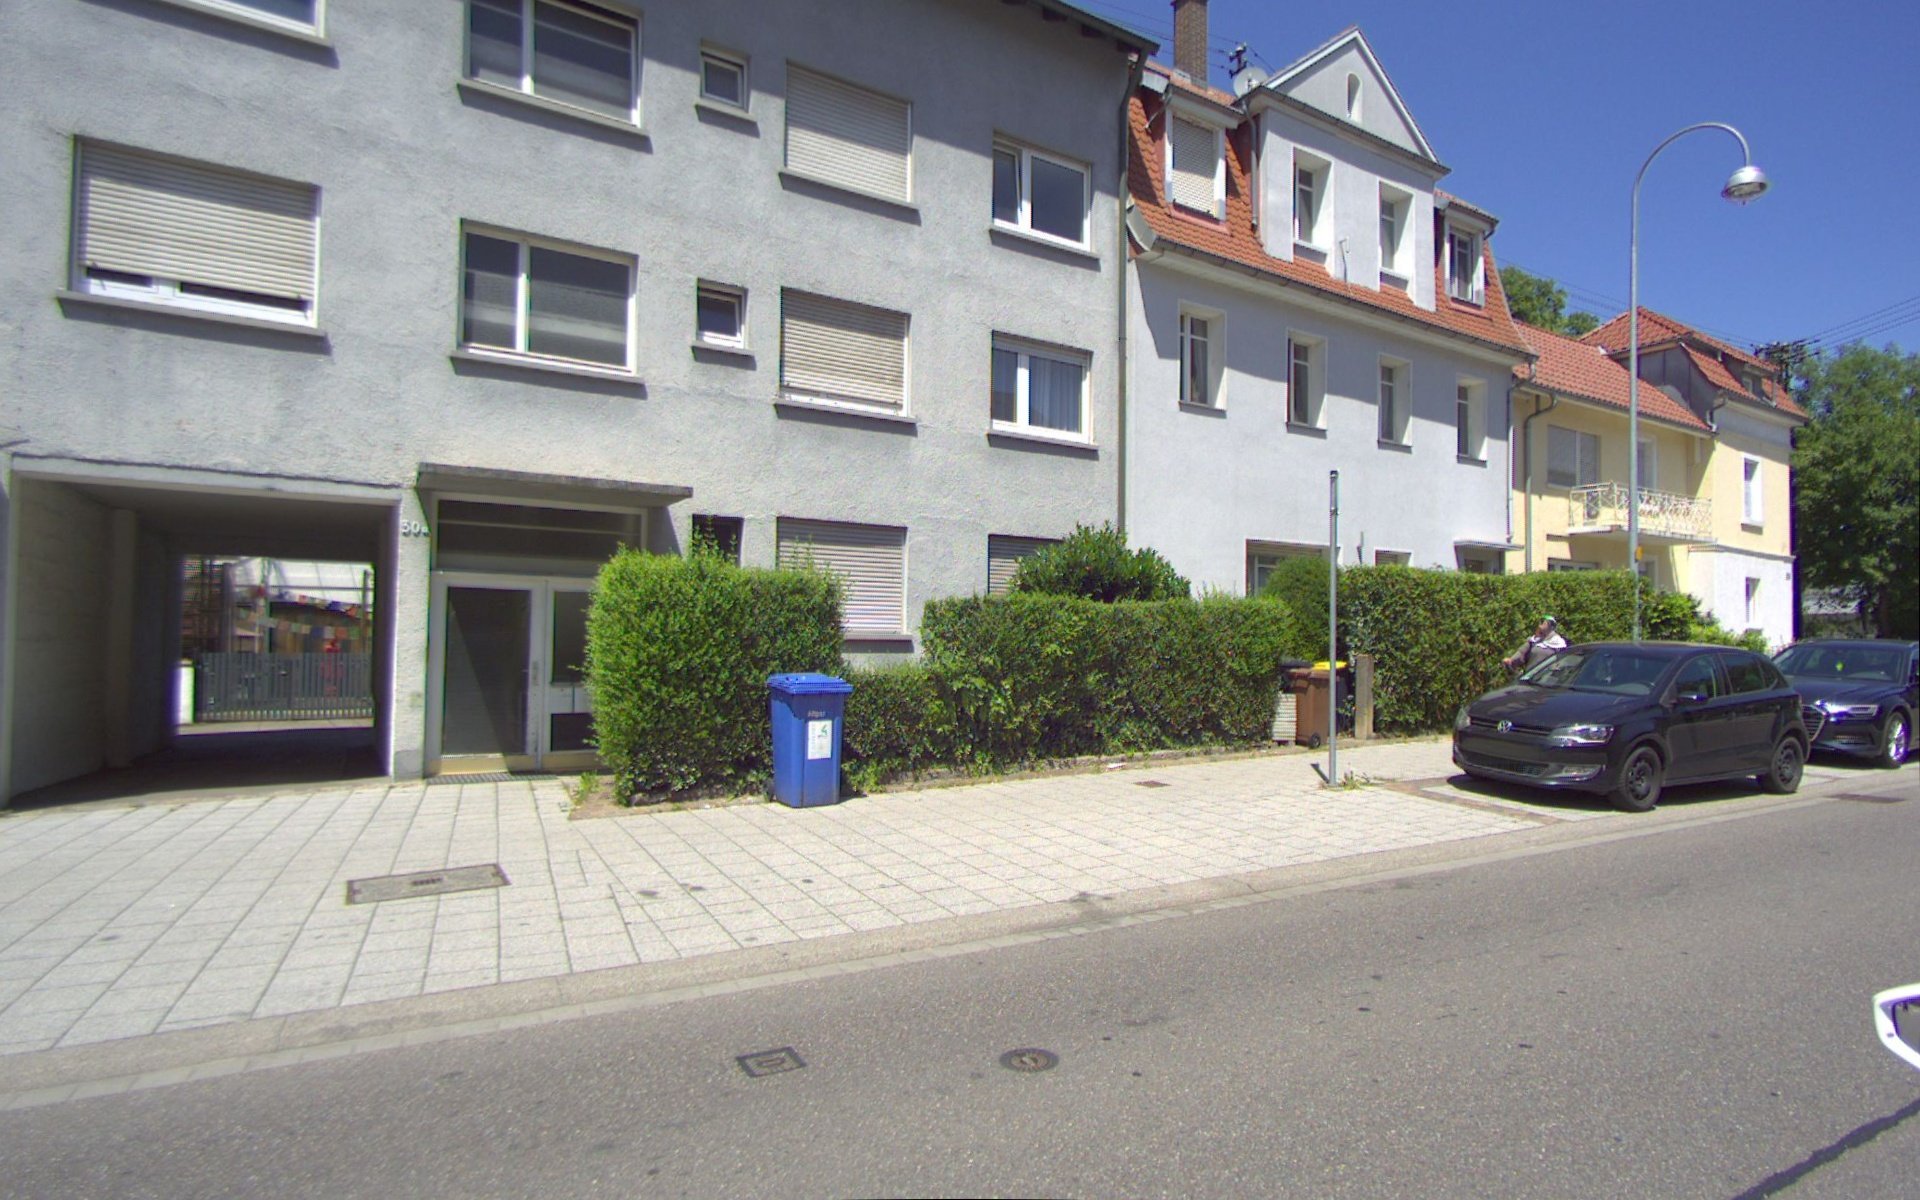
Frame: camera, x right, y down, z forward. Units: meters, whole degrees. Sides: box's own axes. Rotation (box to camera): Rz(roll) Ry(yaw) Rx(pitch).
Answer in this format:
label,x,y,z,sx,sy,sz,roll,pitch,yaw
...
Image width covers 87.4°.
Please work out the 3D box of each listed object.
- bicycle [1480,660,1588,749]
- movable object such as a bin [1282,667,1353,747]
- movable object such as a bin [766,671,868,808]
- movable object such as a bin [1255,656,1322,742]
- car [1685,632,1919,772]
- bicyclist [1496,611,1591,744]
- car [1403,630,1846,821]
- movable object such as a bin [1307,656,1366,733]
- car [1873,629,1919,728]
label,x,y,z,sx,sy,sz,roll,pitch,yaw
bicycle,7.638,1.364,13.350,1.496,1.098,0.554,1,-2,-29
movable object such as a bin,4.408,1.303,12.388,0.697,0.924,0.492,1,-2,-30
movable object such as a bin,-1.205,1.135,8.415,0.644,1.061,0.670,1,-3,-30
movable object such as a bin,4.181,1.245,12.798,0.697,1.044,0.465,1,-2,-30
car,11.945,1.198,13.320,5.245,1.481,1.854,1,0,-31
bicyclist,7.744,1.007,13.341,0.826,1.681,0.778,2,-2,-31
car,6.573,1.077,9.905,4.142,1.479,1.781,1,1,-26
movable object such as a bin,5.107,1.270,13.630,0.607,1.003,0.465,1,-2,-30
car,16.982,1.277,16.296,4.682,1.499,1.868,1,1,-30
